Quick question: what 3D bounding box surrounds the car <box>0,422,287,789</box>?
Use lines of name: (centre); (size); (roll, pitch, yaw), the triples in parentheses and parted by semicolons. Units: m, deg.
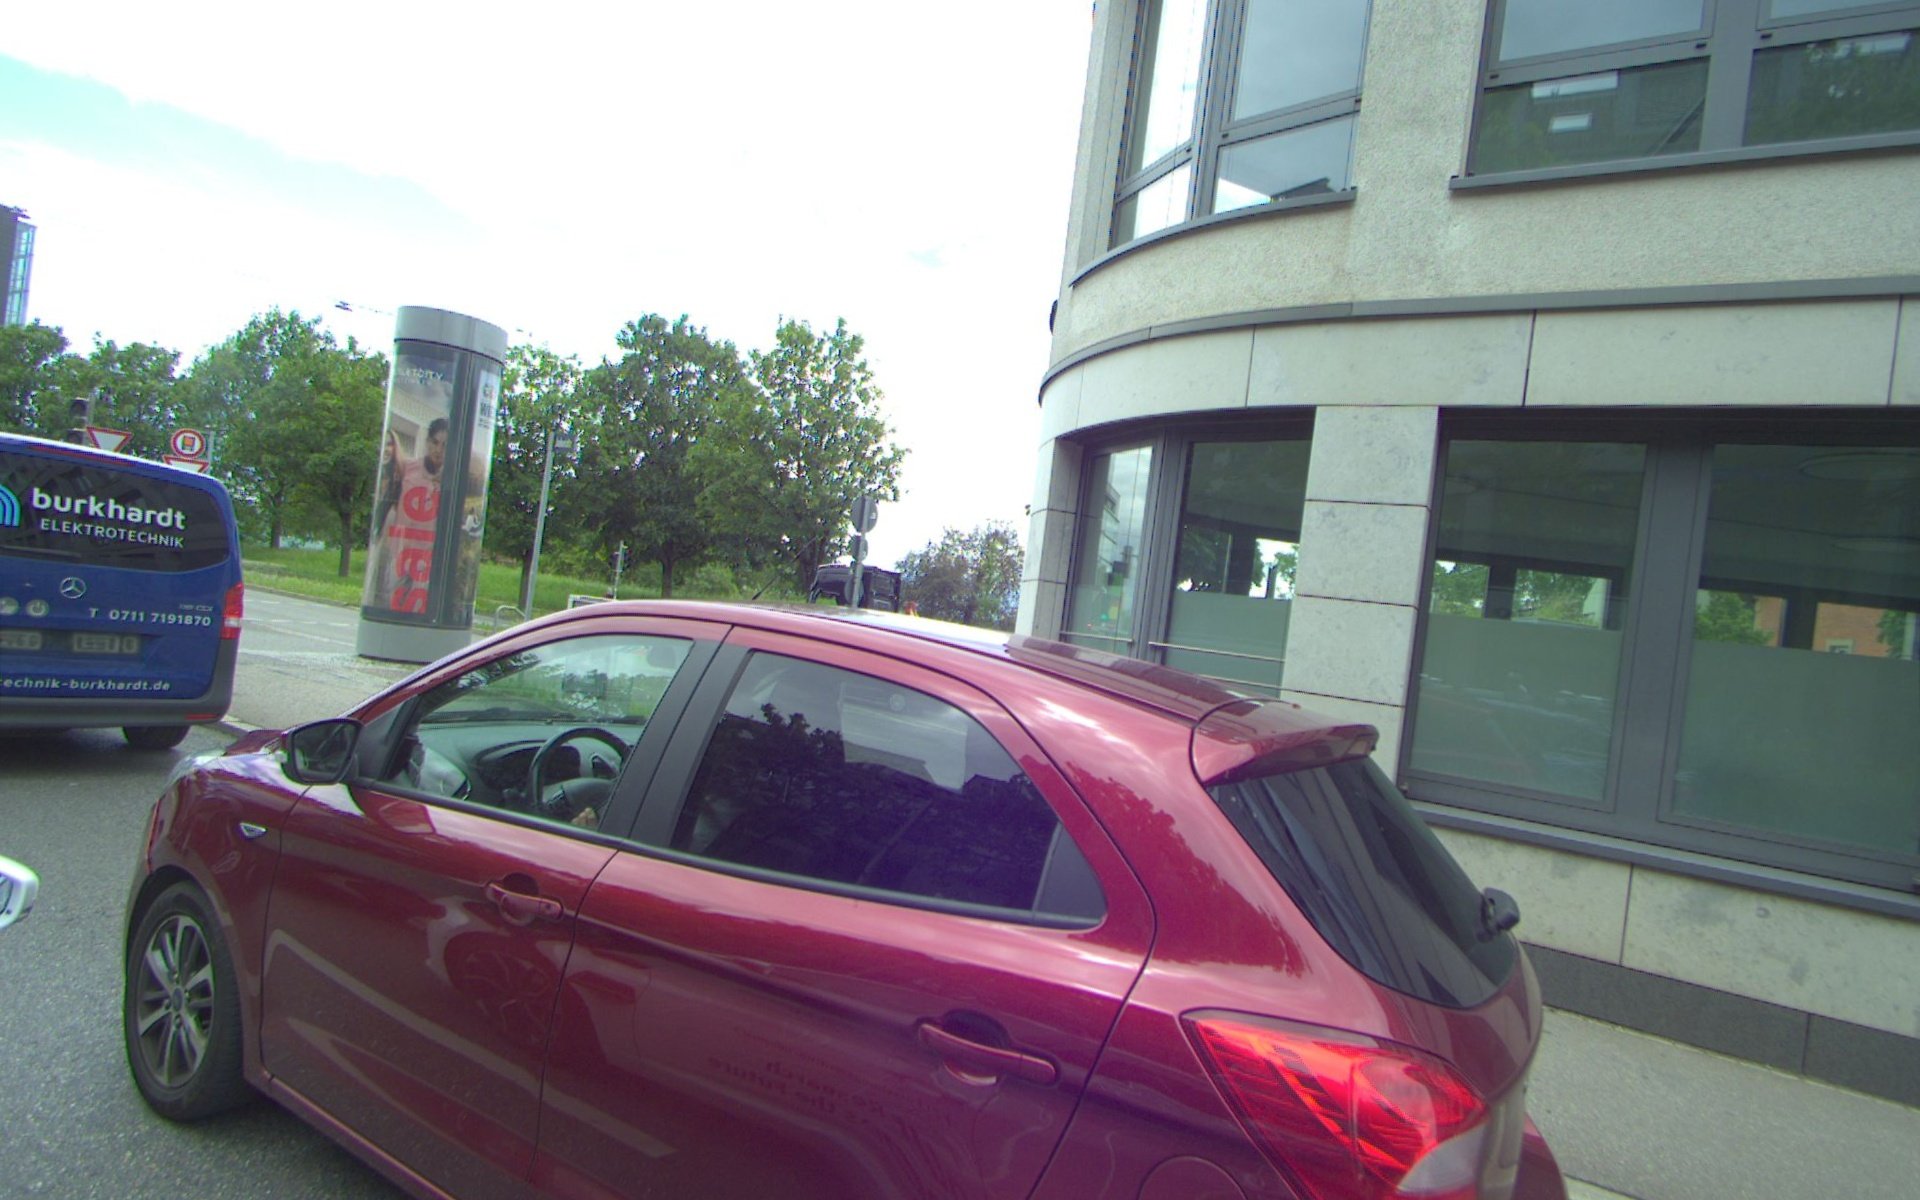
car: (-6.751, -0.159, 6.646); (4.631, 1.880, 1.906); (7, -2, 32)

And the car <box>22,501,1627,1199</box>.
car: (-0.565, 0.743, 2.691); (3.656, 1.498, 1.749); (7, -2, 30)

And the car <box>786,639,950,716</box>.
car: (-2.462, 2.083, 27.035); (3.903, 1.389, 1.656); (8, -2, 19)

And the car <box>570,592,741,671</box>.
car: (-8.901, 0.925, 29.465); (4.404, 1.547, 1.858); (9, -2, 19)

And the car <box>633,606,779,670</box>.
car: (-8.328, 1.258, 33.062); (4.081, 1.458, 1.992); (8, -2, 19)

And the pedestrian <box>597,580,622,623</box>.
pedestrian: (-13.973, 0.056, 40.123); (0.692, 1.626, 0.540); (10, 5, 40)

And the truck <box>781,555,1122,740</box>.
truck: (-0.272, 1.338, 29.878); (9.280, 3.969, 2.832); (8, -2, 18)

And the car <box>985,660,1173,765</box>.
car: (2.988, 2.752, 25.098); (4.206, 1.817, 1.758); (8, -2, 17)
